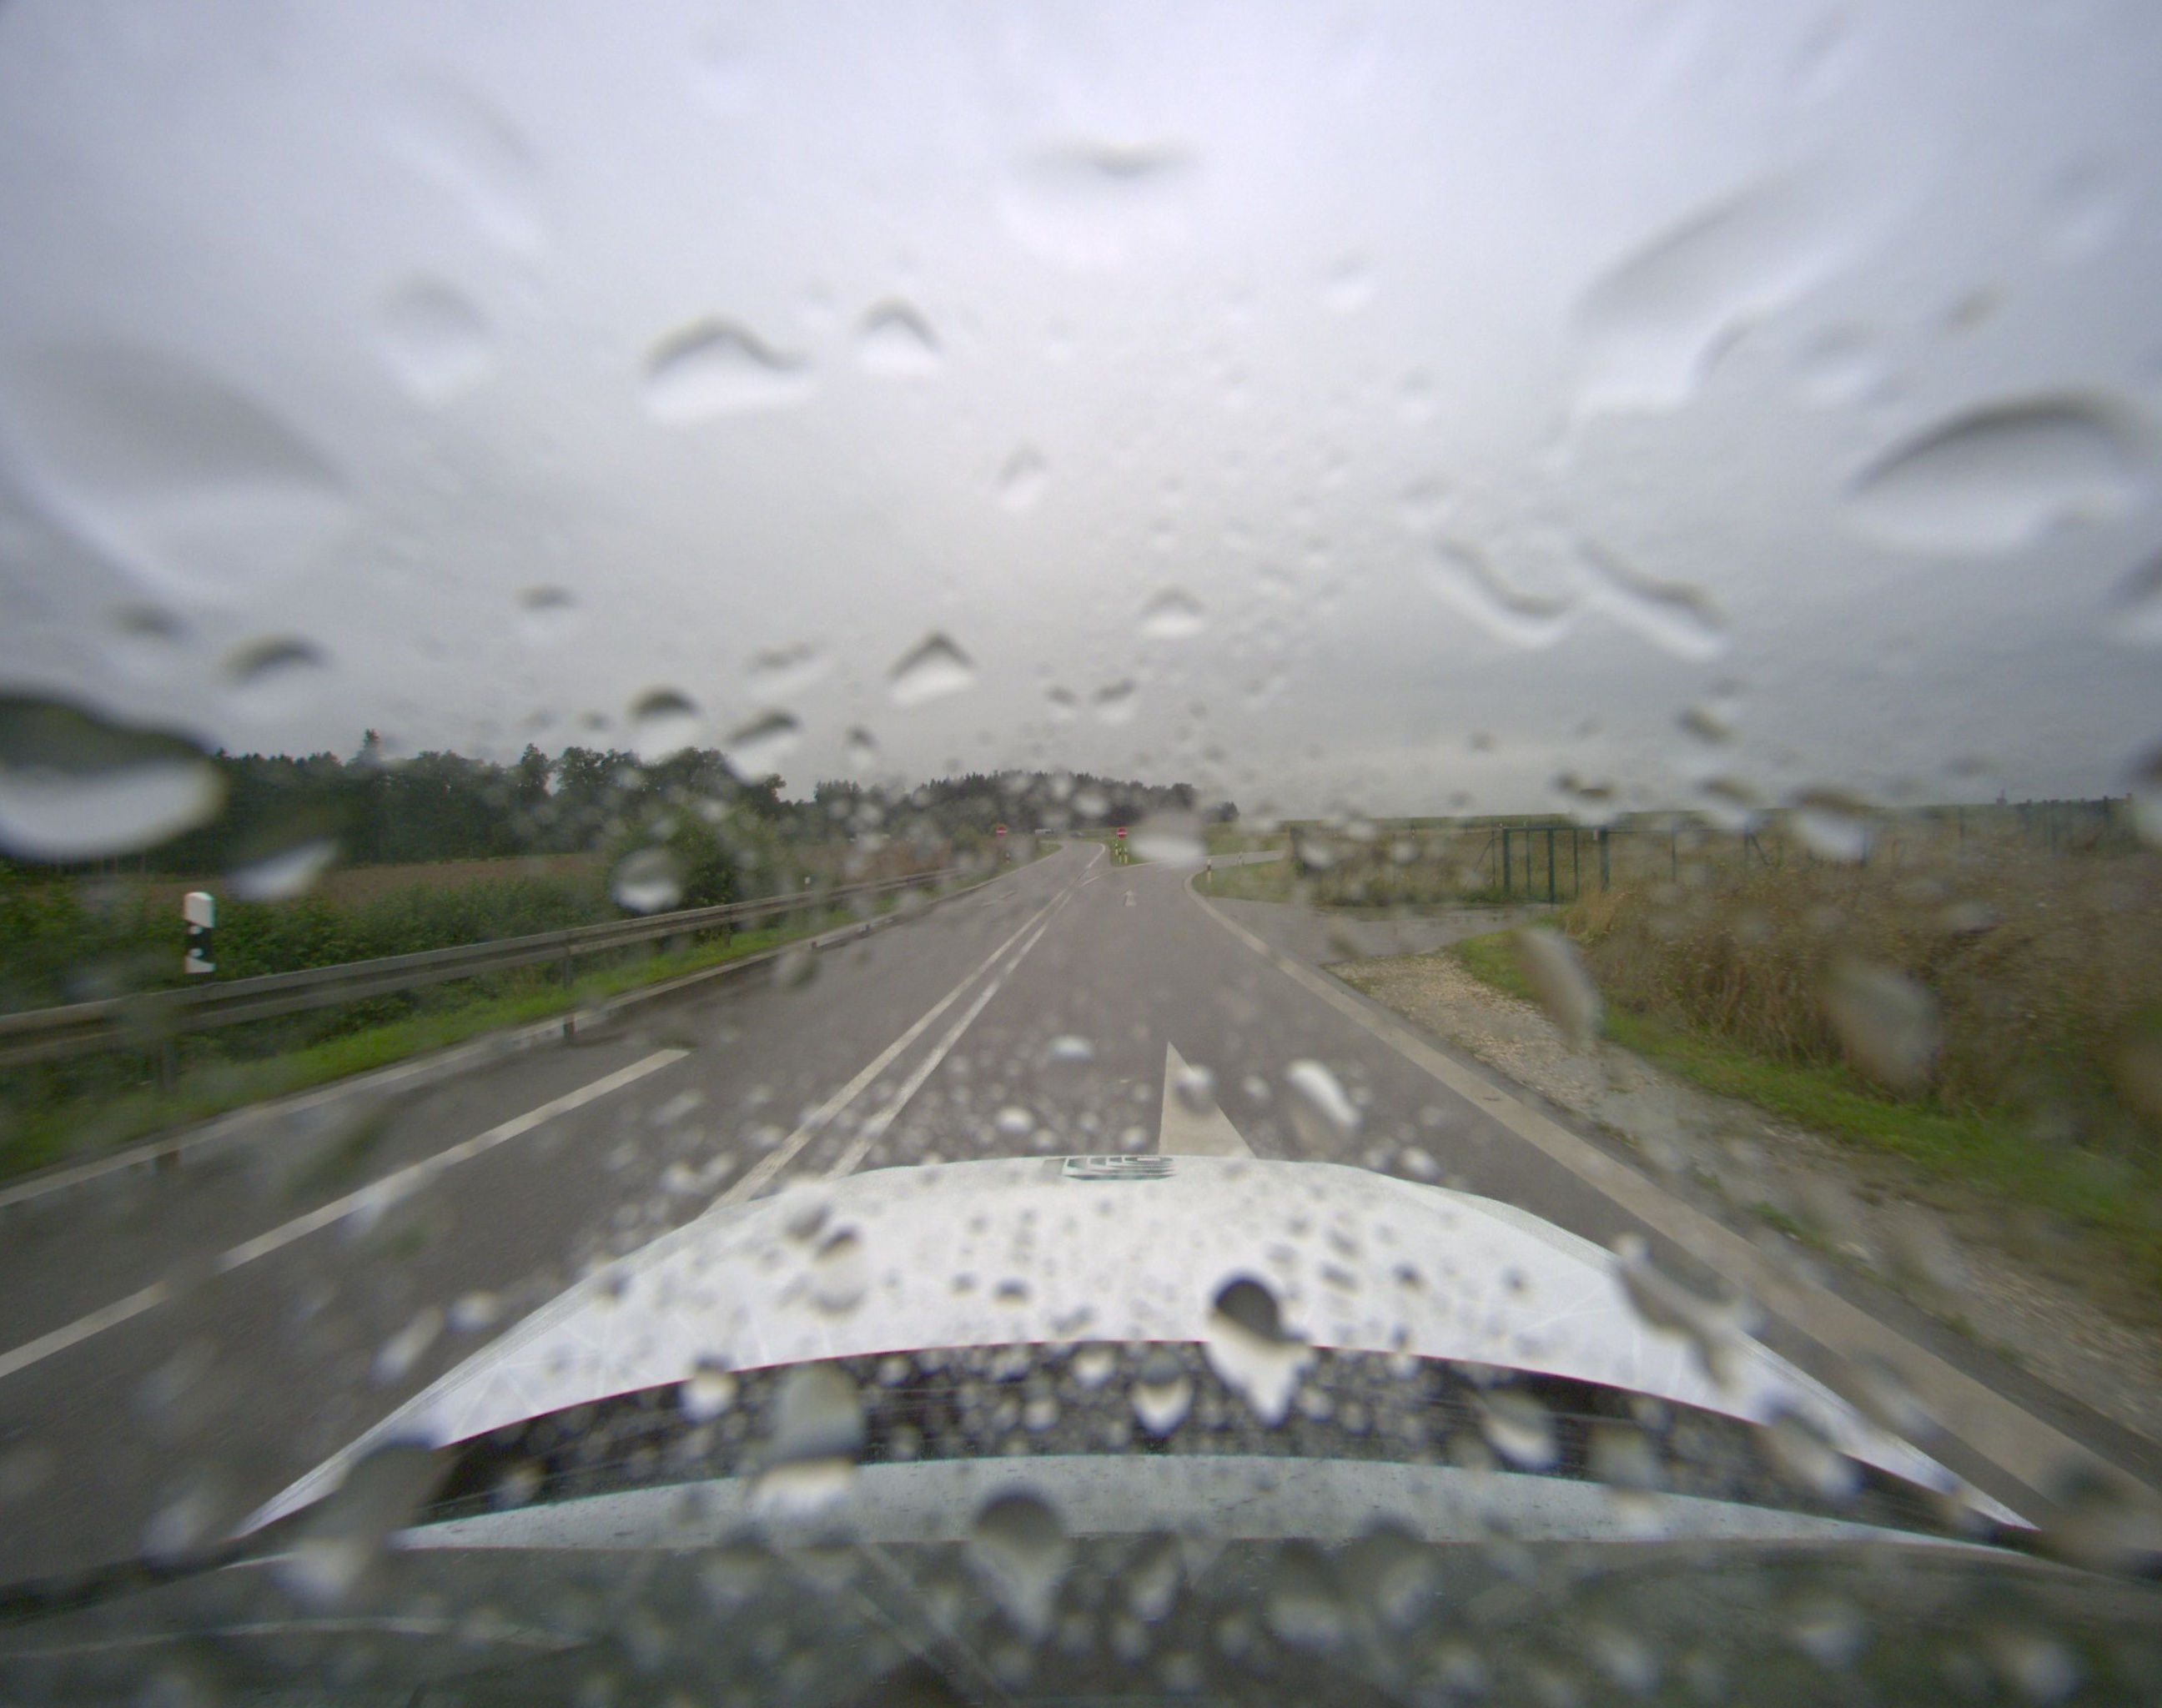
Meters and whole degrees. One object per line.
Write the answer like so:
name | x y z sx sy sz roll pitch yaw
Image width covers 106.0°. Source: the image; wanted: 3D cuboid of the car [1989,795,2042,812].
car | 107.433 -5.815 93.647 1.745 1.736 3.953 -4 3 -41

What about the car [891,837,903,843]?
car | -54.622 -4.206 241.376 1.882 1.736 3.953 -4 3 -41
